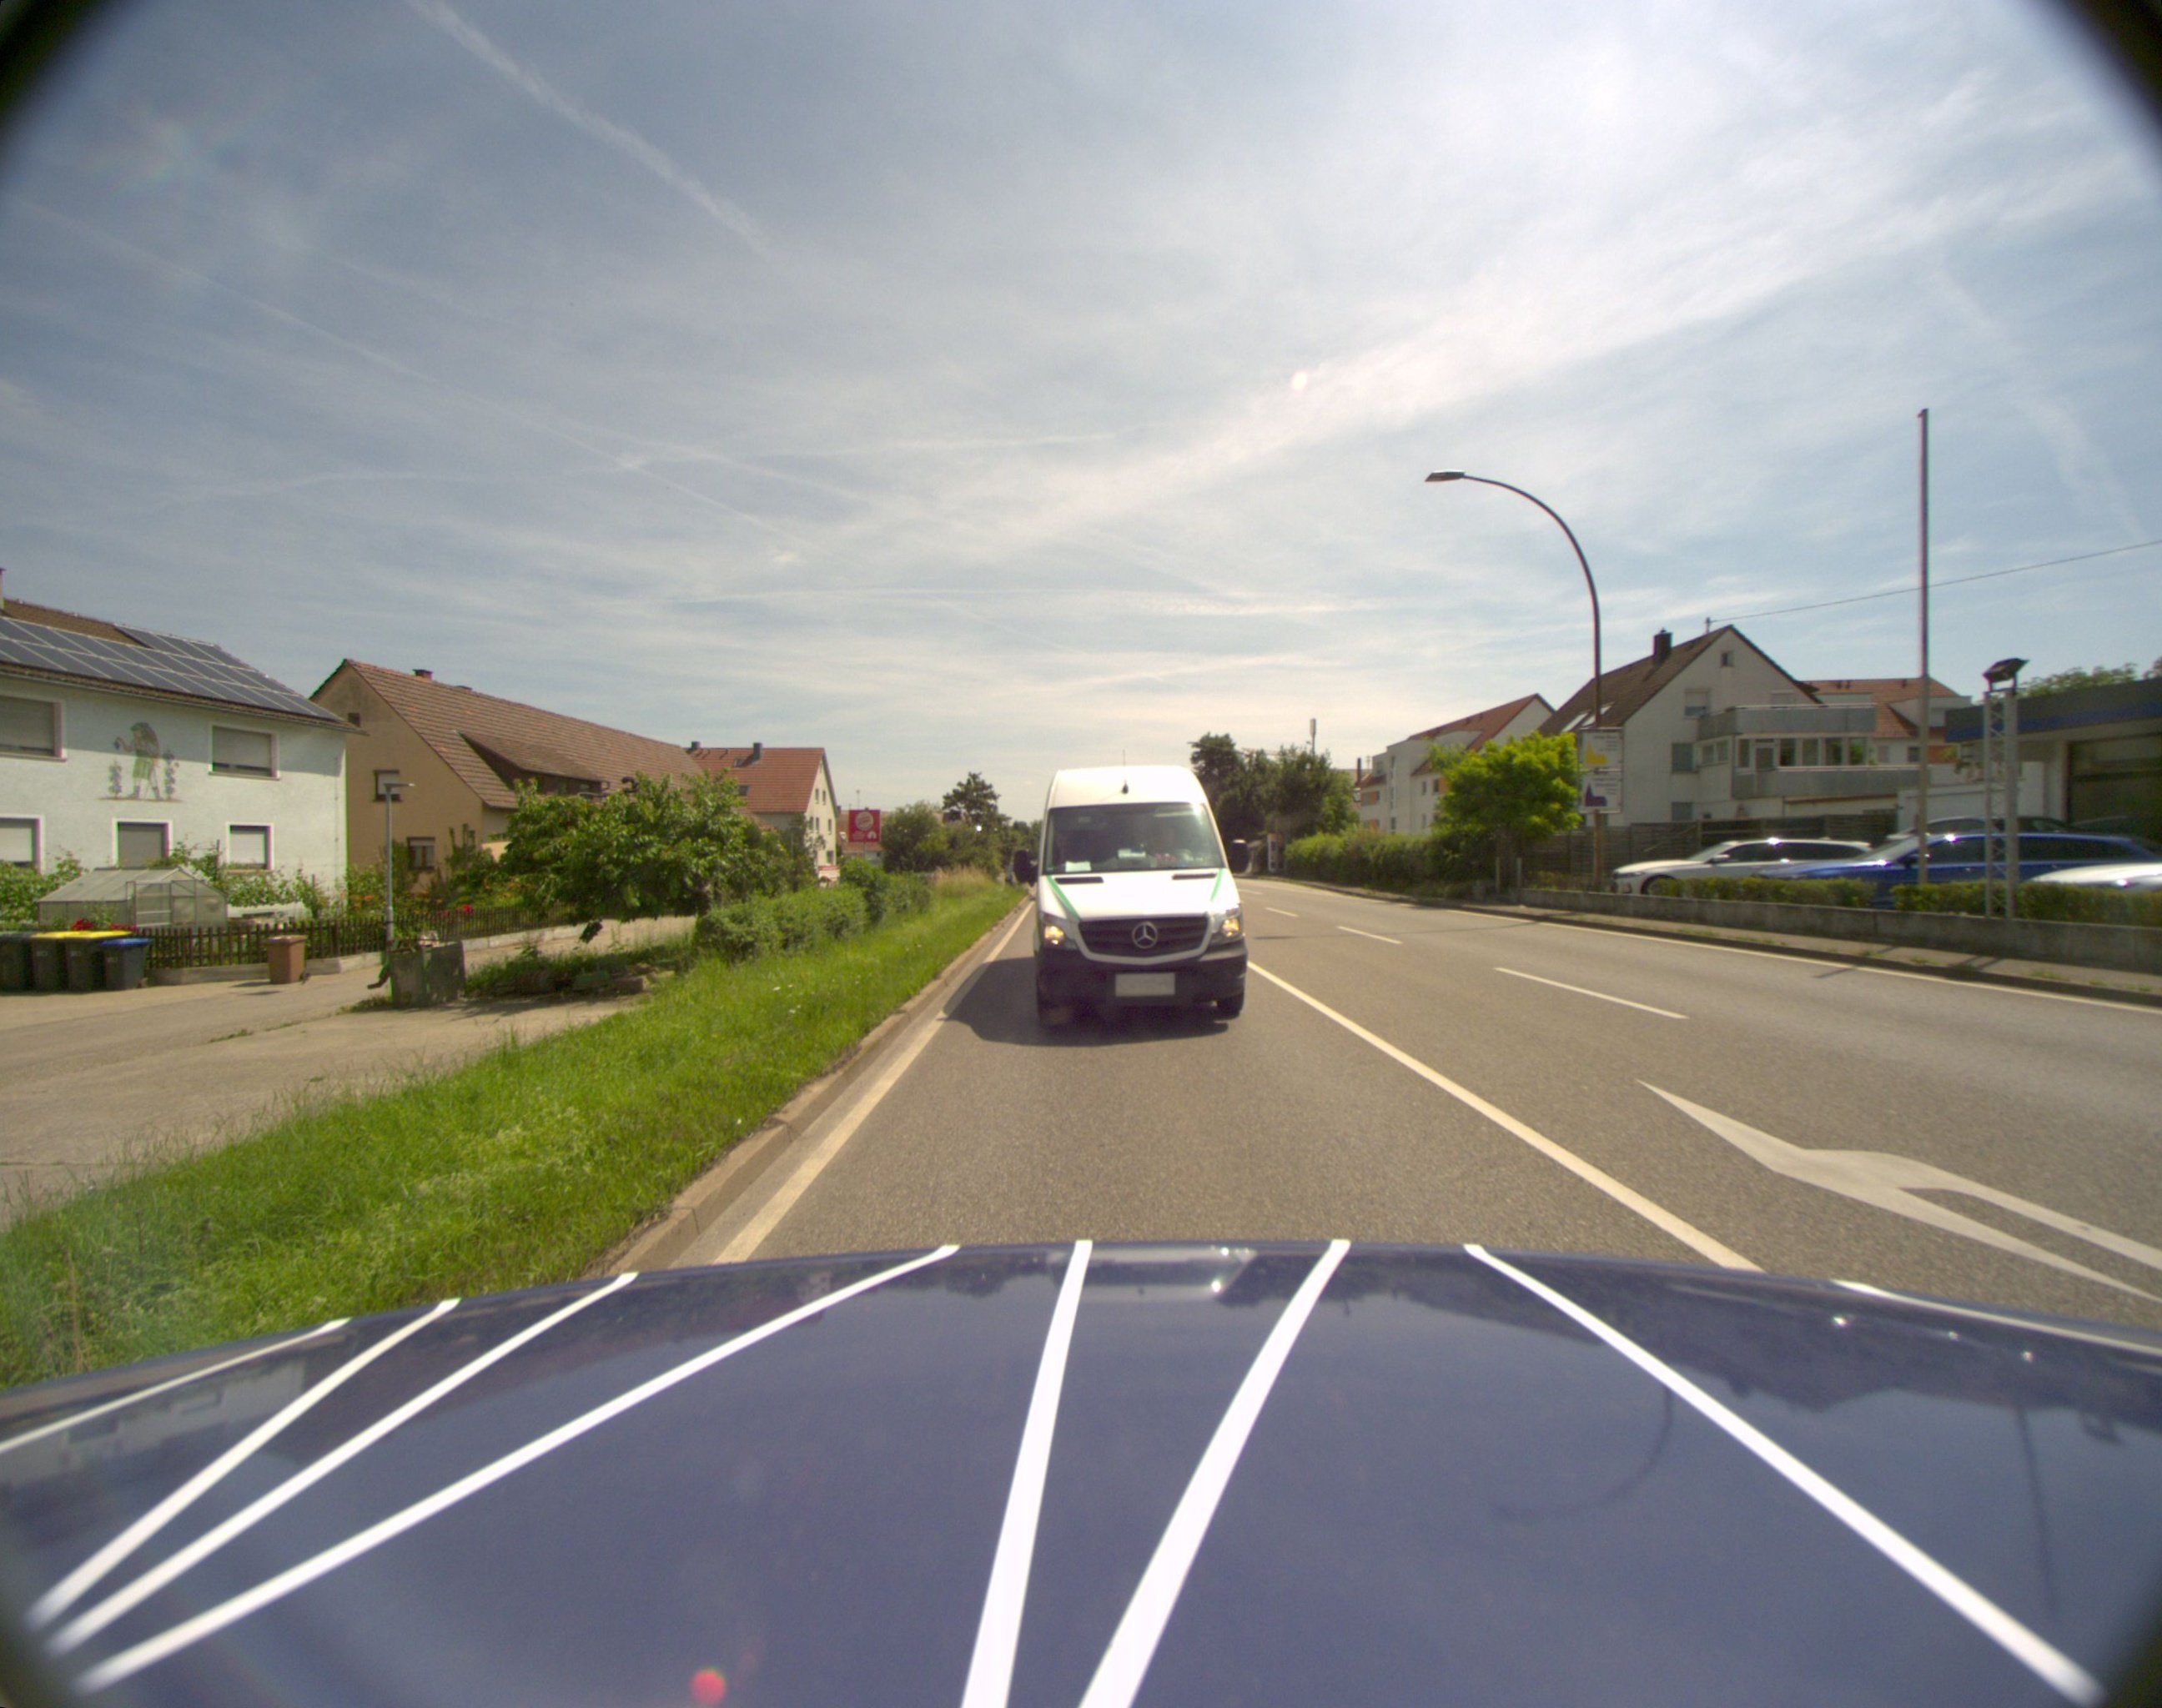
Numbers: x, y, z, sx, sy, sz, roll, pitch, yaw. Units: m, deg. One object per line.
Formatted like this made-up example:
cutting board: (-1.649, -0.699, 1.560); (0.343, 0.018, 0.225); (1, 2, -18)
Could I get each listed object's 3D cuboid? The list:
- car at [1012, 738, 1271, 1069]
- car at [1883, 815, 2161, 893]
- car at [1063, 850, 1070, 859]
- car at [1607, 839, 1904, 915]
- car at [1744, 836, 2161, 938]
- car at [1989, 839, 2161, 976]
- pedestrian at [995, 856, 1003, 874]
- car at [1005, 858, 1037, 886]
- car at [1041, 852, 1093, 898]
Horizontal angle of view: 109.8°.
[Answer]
car: (0.457, 0.383, 8.747); (1.939, 2.514, 5.748); (-2, 0, 0)
car: (20.716, -0.025, 16.724); (1.807, 1.456, 4.585); (-2, 0, 10)
car: (-4.582, 0.099, 243.866); (1.998, 2.573, 3.999); (-2, 1, 0)
car: (14.454, 0.498, 16.698); (4.568, 1.439, 1.860); (-2, 1, 29)
car: (14.249, 0.517, 12.790); (4.331, 1.439, 1.860); (-2, 1, 29)
car: (13.989, 0.505, 8.493); (4.505, 1.439, 1.860); (-4, 0, 30)
pedestrian: (-6.959, 0.918, 64.359); (0.522, 1.540, 0.562); (-2, 2, -19)
car: (-3.574, 1.067, 45.671); (1.636, 1.476, 3.551); (-4, 1, -2)
car: (-0.552, 0.801, 30.730); (1.884, 1.652, 4.625); (-2, 0, 0)
